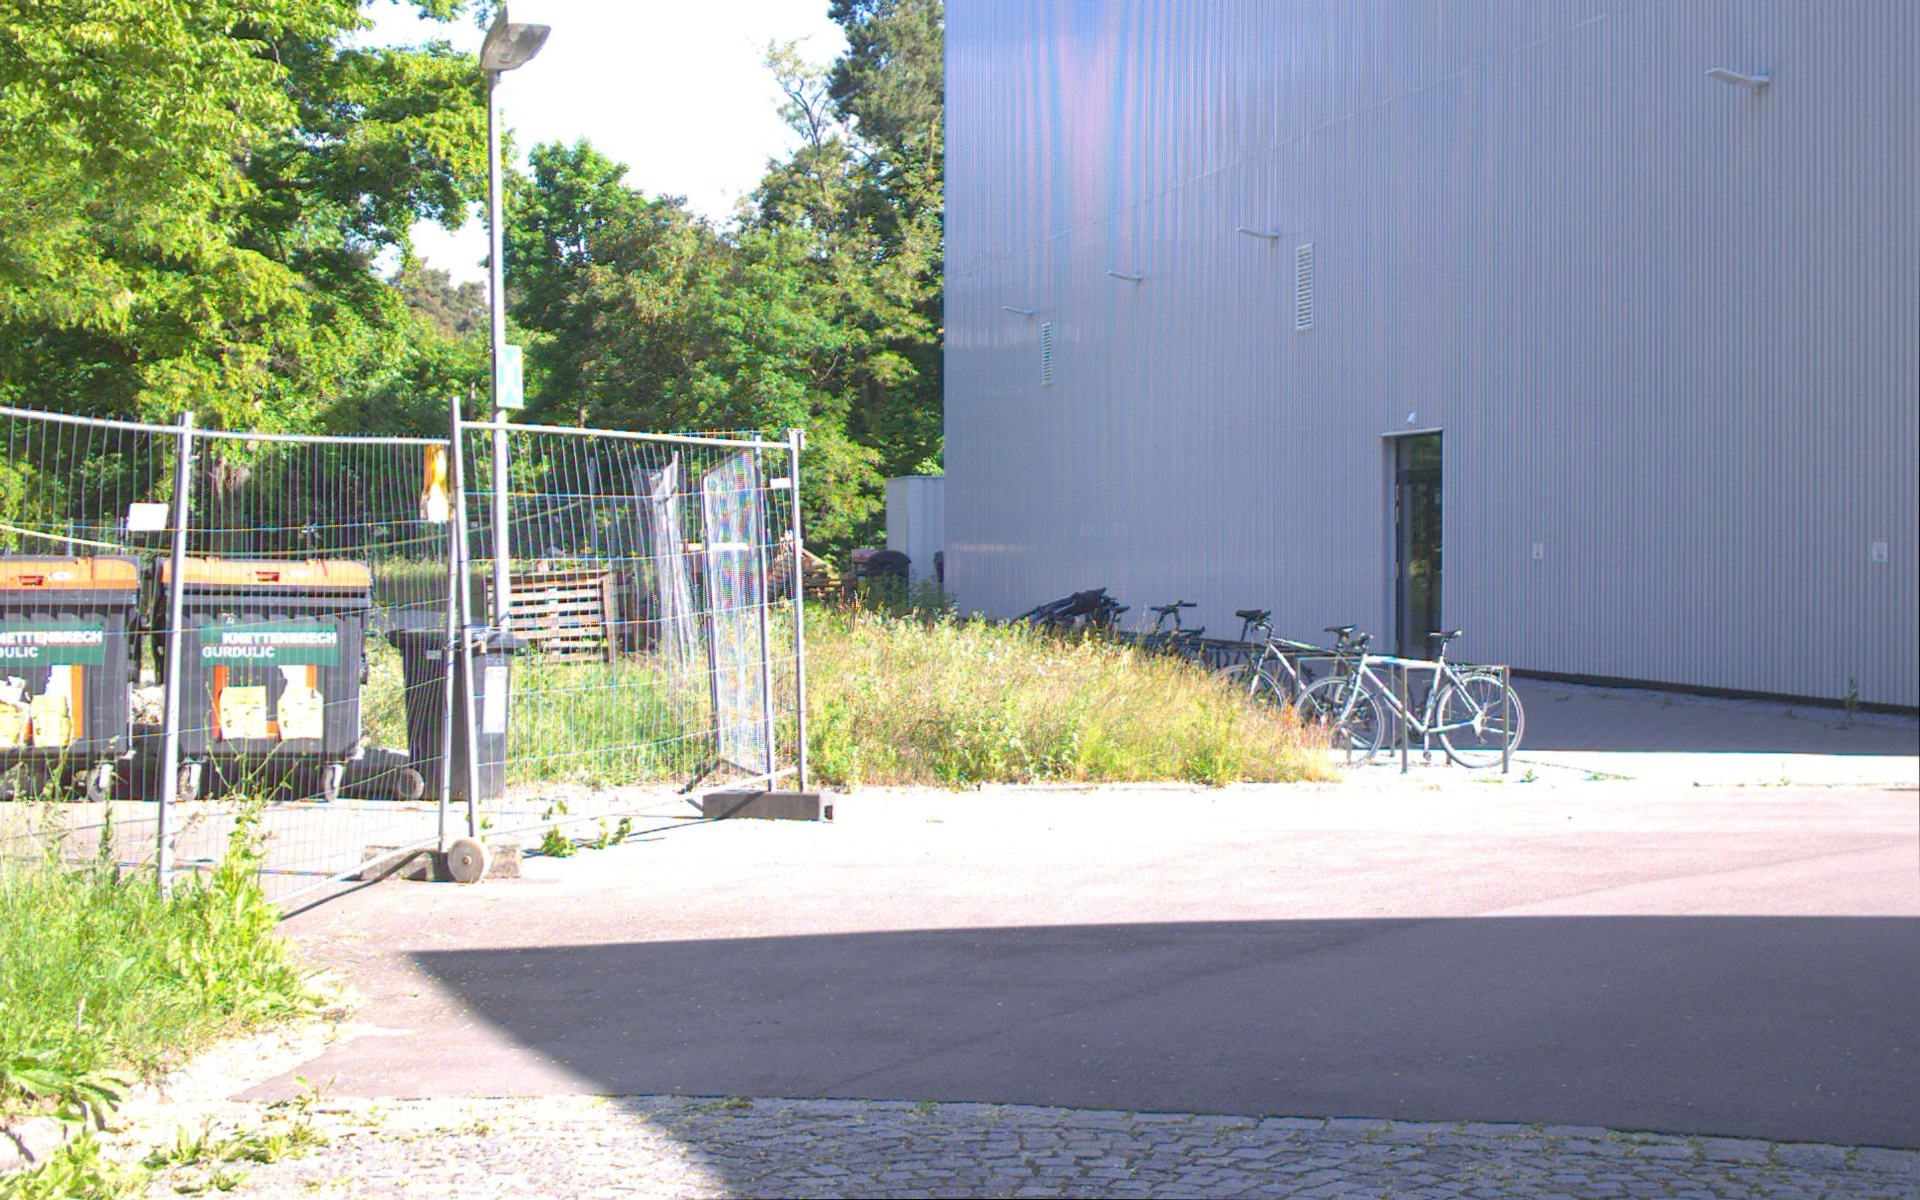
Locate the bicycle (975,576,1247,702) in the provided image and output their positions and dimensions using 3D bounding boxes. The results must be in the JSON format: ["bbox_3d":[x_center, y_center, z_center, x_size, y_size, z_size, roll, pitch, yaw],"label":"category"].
[{"bbox_3d":[1.534,0.397,35.356,2.630,1.262,1.141,0,1,-7],"label":"bicycle"}]

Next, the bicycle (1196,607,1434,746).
[{"bbox_3d":[2.812,0.602,27.273,1.791,1.079,0.525,0,1,-10],"label":"bicycle"}]

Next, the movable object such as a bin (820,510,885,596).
[{"bbox_3d":[-2.555,-1.118,81.429,1.418,2.007,1.125,0,1,-7],"label":"movable object such as a bin"}]

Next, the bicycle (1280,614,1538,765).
[{"bbox_3d":[3.228,0.632,24.734,1.799,1.058,0.459,0,1,-16],"label":"bicycle"}]

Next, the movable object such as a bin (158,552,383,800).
[{"bbox_3d":[-4.110,0.438,20.455,1.244,1.439,0.703,0,1,-17],"label":"movable object such as a bin"}]

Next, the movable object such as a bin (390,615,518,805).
[{"bbox_3d":[-3.020,0.645,20.535,0.736,1.094,0.819,0,1,-8],"label":"movable object such as a bin"}]

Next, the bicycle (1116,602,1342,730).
[{"bbox_3d":[2.328,0.565,29.780,1.887,1.091,0.526,0,0,-12],"label":"bicycle"}]

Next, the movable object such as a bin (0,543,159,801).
[{"bbox_3d":[-5.415,0.408,20.157,1.337,1.479,0.807,0,1,-18],"label":"movable object such as a bin"}]
